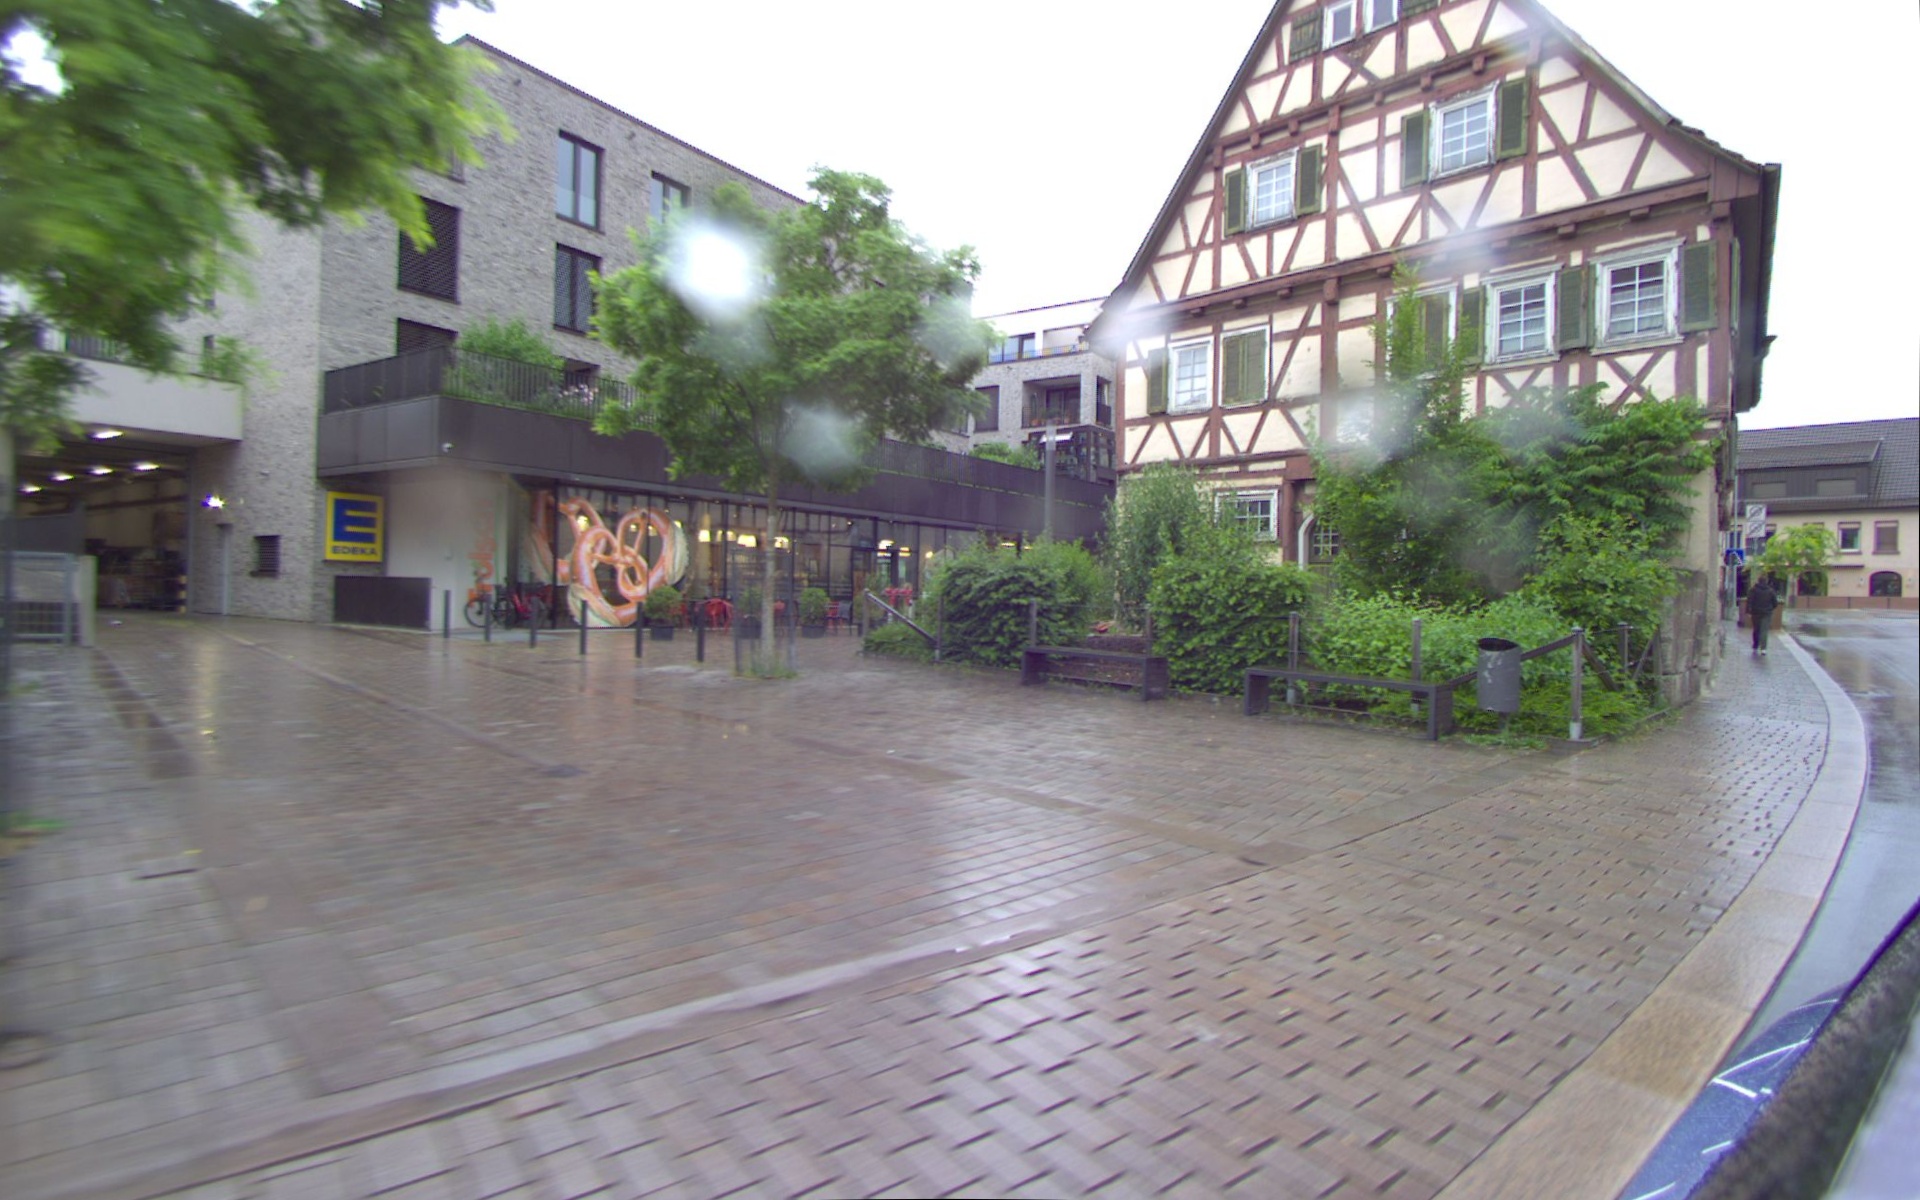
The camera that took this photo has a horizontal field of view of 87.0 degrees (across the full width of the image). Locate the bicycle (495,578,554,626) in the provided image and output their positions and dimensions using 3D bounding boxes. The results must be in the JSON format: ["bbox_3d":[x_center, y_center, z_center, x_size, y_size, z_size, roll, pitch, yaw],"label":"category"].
[{"bbox_3d":[-9.751,0.034,22.648,1.698,0.981,0.442,4,3,38],"label":"bicycle"}]

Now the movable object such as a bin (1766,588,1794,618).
[{"bbox_3d":[31.702,0.108,39.134,0.764,1.109,0.573,3,2,38],"label":"movable object such as a bin"}]

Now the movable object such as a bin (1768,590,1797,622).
[{"bbox_3d":[29.414,0.202,36.194,0.764,1.109,0.573,3,2,38],"label":"movable object such as a bin"}]

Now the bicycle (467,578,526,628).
[{"bbox_3d":[-10.182,0.044,22.207,1.698,0.981,0.442,4,3,38],"label":"bicycle"}]

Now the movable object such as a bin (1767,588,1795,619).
[{"bbox_3d":[31.351,0.125,38.657,0.764,1.109,0.573,3,2,38],"label":"movable object such as a bin"}]

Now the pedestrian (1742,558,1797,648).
[{"bbox_3d":[17.844,0.060,22.324,0.808,1.908,0.896,4,2,36],"label":"pedestrian"}]

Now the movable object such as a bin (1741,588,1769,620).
[{"bbox_3d":[29.157,0.133,37.127,0.764,1.109,0.618,3,2,38],"label":"movable object such as a bin"}]

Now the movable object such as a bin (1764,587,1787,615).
[{"bbox_3d":[33.075,0.042,41.036,0.661,1.109,0.544,3,2,37],"label":"movable object such as a bin"}]
